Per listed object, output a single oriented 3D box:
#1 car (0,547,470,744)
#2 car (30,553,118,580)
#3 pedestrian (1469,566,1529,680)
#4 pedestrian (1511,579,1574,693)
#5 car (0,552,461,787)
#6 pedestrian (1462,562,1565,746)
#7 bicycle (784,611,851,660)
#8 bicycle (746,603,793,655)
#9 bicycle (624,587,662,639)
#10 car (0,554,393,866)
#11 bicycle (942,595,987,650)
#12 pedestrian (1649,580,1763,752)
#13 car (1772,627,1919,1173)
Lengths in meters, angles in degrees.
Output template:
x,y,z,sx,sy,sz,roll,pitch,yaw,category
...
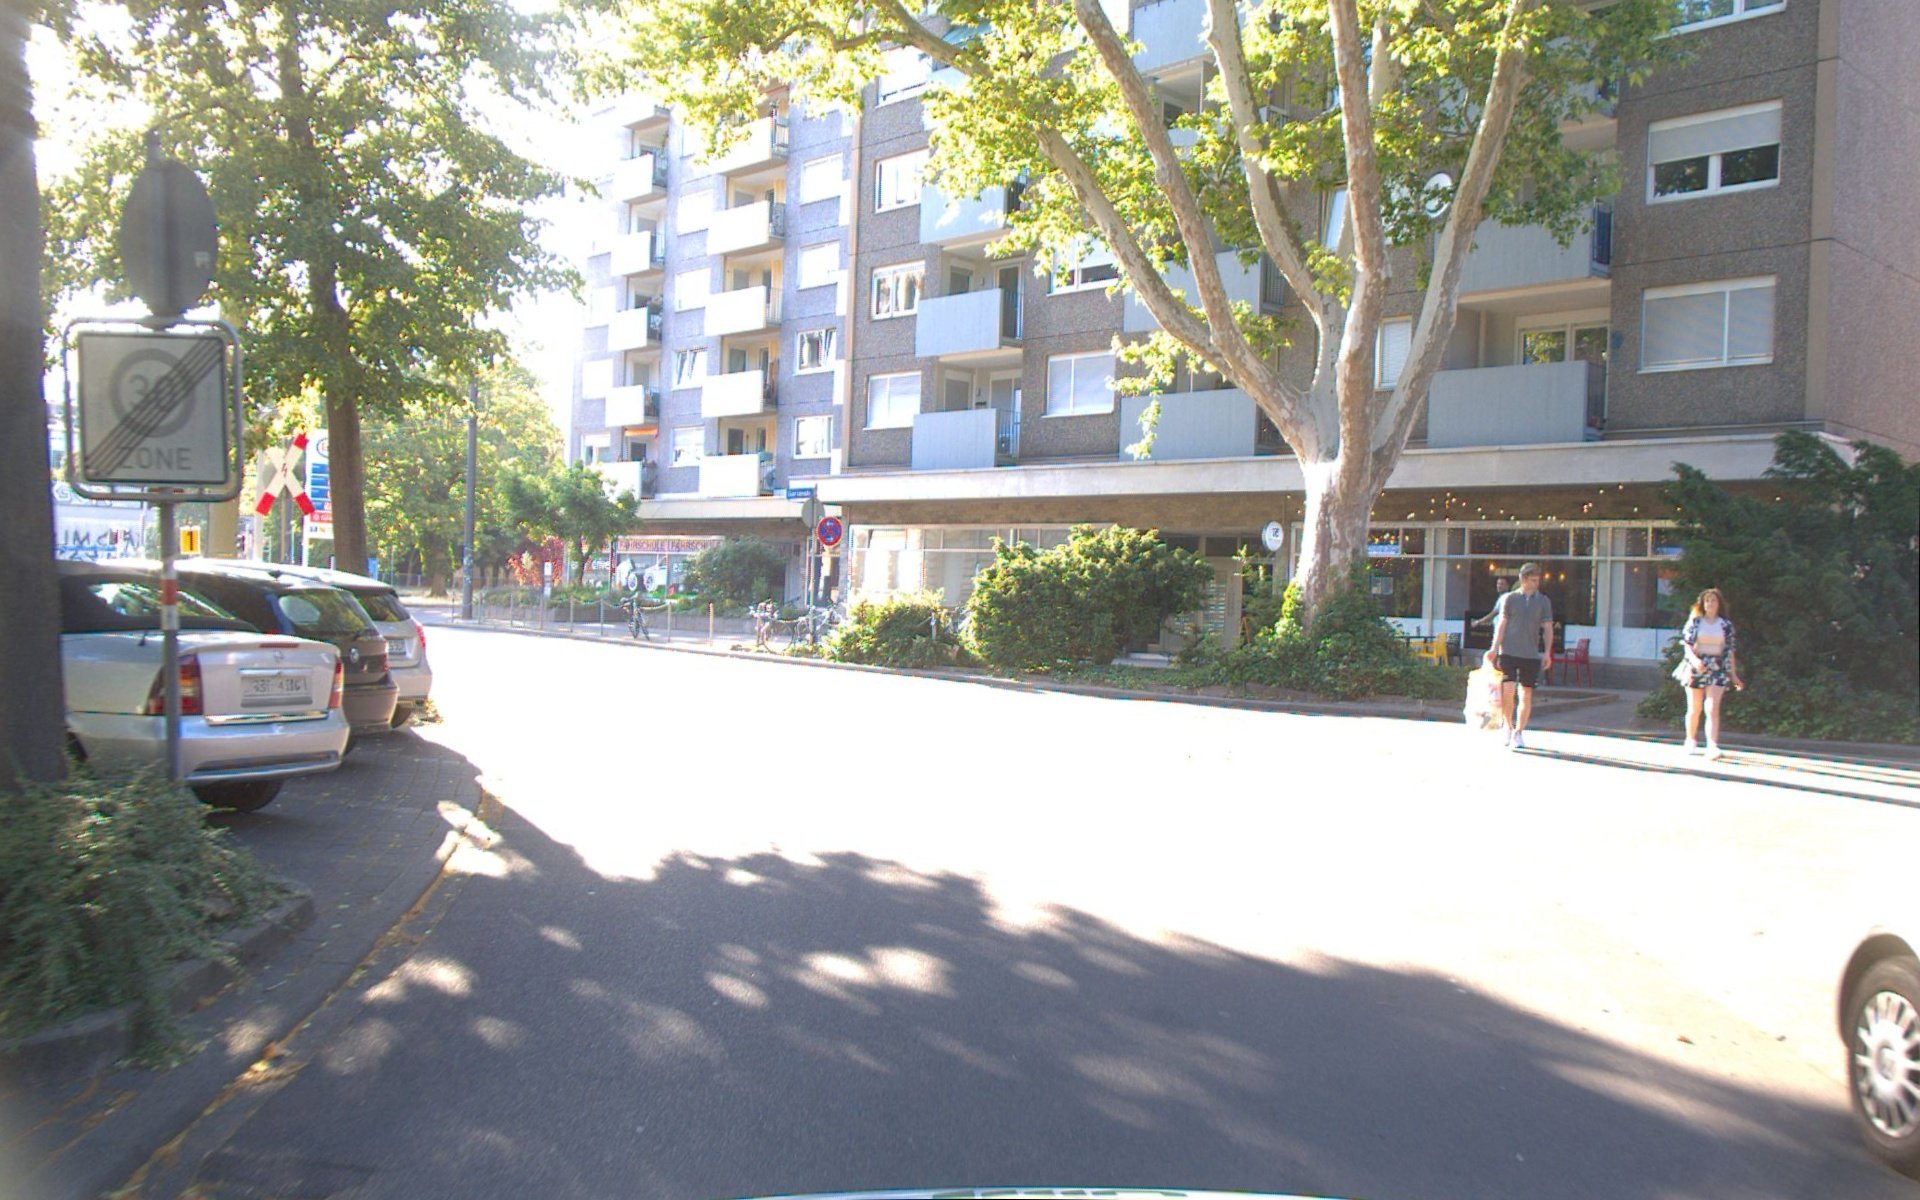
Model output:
x,y,z,sx,sy,sz,roll,pitch,yaw,category
-6.789,0.354,14.900,4.190,1.454,1.775,3,0,15,car
-53.381,-2.009,99.757,4.411,1.513,1.769,1,0,-21,car
8.654,0.361,26.563,0.680,1.804,0.627,1,0,-40,pedestrian
9.017,0.546,25.597,0.680,1.721,0.635,1,0,-40,pedestrian
-5.987,0.428,12.279,3.942,1.430,1.776,3,0,13,car
5.621,0.535,16.824,0.795,1.812,0.717,1,0,3,pedestrian
-2.902,0.712,33.551,0.538,0.920,1.714,1,0,-35,bicycle
-4.091,0.609,35.376,0.628,1.040,2.078,1,0,-17,bicycle
-7.995,0.323,41.626,0.629,1.247,2.077,1,0,-19,bicycle
-5.480,0.455,9.351,3.889,1.388,1.776,5,0,14,car
0.079,0.433,32.894,0.345,1.056,1.039,1,0,-36,bicycle
7.353,0.635,16.336,0.795,1.636,0.717,1,0,3,pedestrian
3.443,0.892,3.446,1.646,1.471,3.873,4,0,2,car
